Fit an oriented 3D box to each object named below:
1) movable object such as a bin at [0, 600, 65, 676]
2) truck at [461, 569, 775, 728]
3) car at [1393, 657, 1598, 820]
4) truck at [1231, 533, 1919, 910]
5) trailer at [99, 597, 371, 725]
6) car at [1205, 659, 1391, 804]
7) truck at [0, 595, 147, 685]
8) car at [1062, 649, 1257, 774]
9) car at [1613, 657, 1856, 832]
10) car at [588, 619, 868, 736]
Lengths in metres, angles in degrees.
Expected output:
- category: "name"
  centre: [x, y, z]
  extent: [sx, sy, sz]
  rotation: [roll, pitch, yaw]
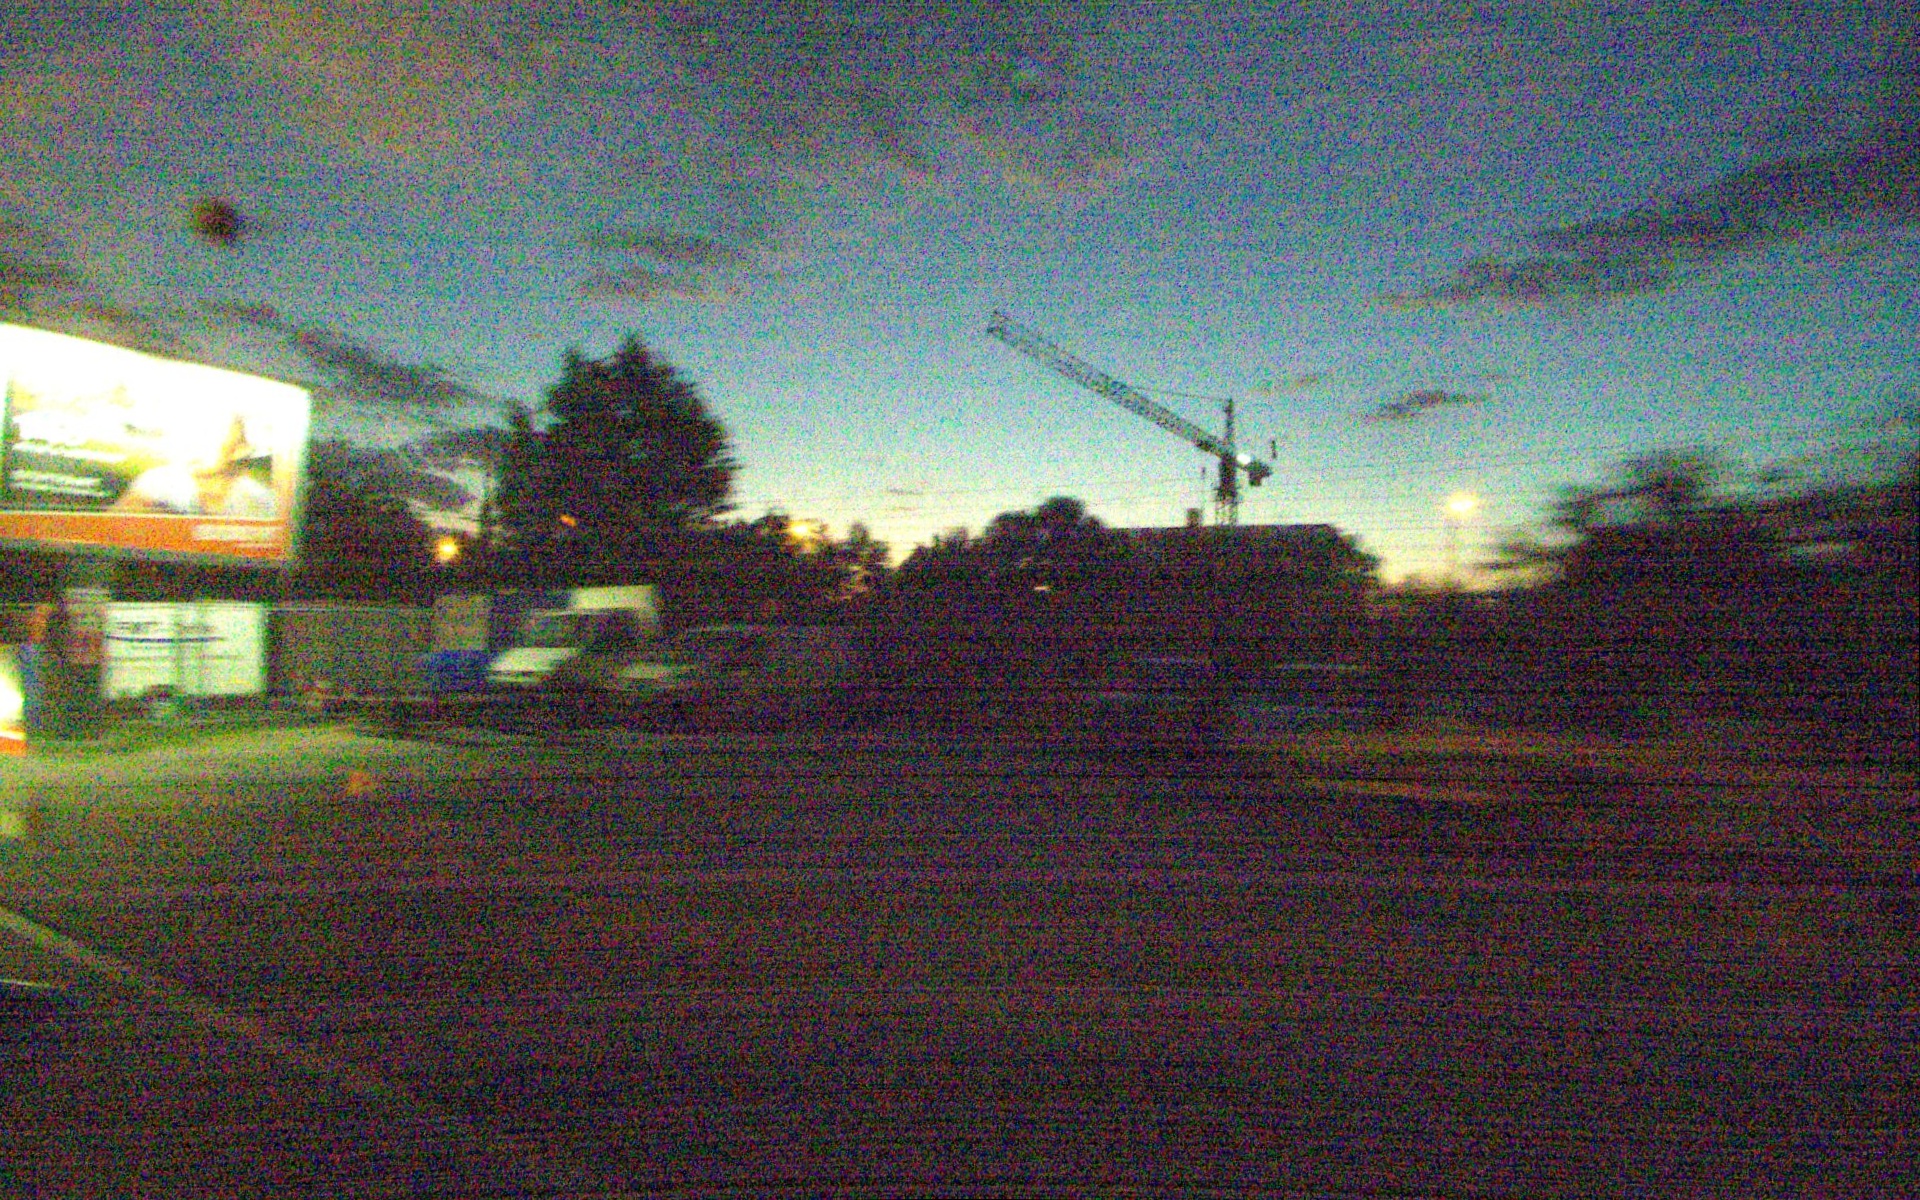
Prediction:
- category: "movable object such as a bin"
  centre: [-36.108, 1.423, 37.830]
  extent: [3.807, 2.758, 2.226]
  rotation: [0, -3, 30]
- category: "truck"
  centre: [-6.420, 0.957, 19.611]
  extent: [2.436, 2.632, 5.526]
  rotation: [0, -3, 31]
- category: "car"
  centre: [6.616, 1.517, 12.154]
  extent: [1.875, 1.580, 3.850]
  rotation: [0, -3, 33]
- category: "truck"
  centre: [6.142, 0.813, 7.416]
  extent: [7.630, 2.312, 2.375]
  rotation: [0, -3, 31]
- category: "trailer"
  centre: [-12.621, 1.040, 17.686]
  extent: [3.711, 2.040, 1.604]
  rotation: [2, -1, -34]
- category: "car"
  centre: [4.702, 1.639, 13.569]
  extent: [1.683, 1.615, 3.854]
  rotation: [0, -3, 30]
- category: "truck"
  centre: [-30.033, 1.346, 33.758]
  extent: [7.219, 2.782, 2.178]
  rotation: [-1, -4, 36]
- category: "car"
  centre: [3.059, 1.531, 14.729]
  extent: [1.683, 1.534, 3.854]
  rotation: [0, -3, 30]
- category: "car"
  centre: [8.717, 1.499, 11.610]
  extent: [1.683, 1.624, 3.854]
  rotation: [0, -3, 30]
- category: "car"
  centre: [-4.079, 1.376, 18.553]
  extent: [1.962, 1.859, 5.064]
  rotation: [0, -3, 34]
